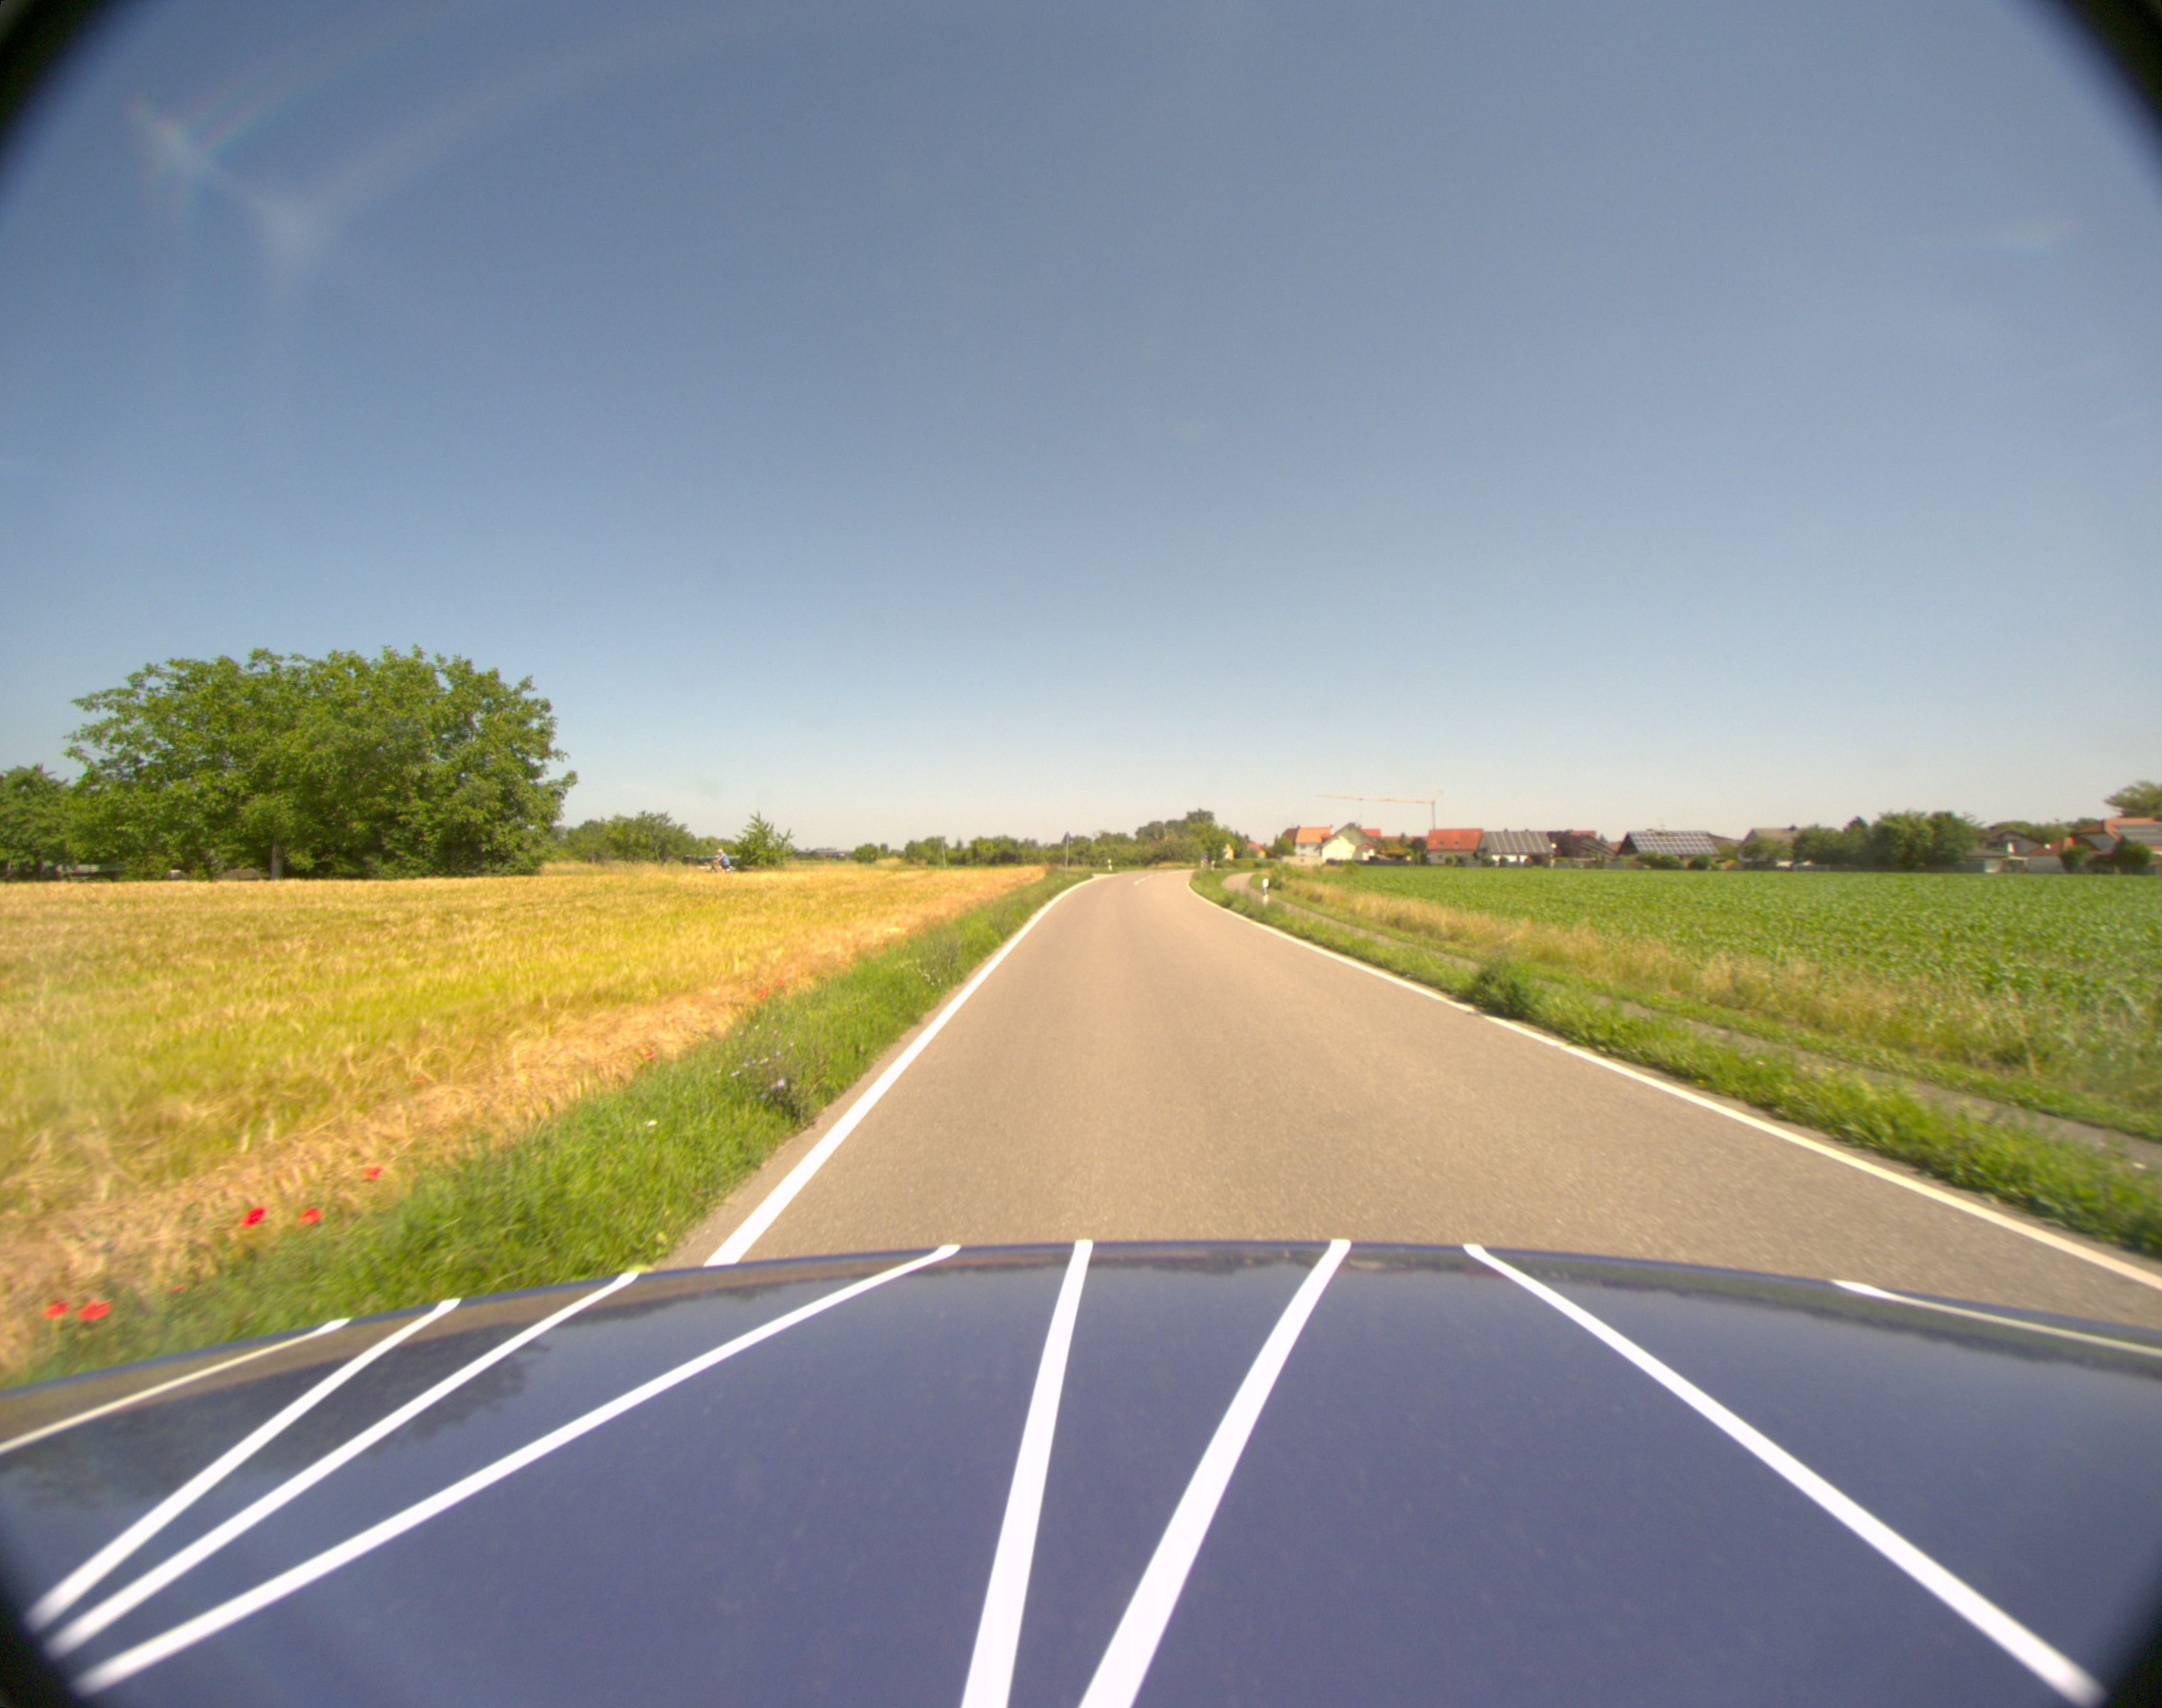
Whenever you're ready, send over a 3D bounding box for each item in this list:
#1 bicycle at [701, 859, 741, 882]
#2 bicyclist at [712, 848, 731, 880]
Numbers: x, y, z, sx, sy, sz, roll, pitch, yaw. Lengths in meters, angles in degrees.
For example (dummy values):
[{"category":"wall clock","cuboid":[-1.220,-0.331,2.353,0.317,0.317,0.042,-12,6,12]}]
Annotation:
[{"category":"bicycle","cuboid":[-17.984,0.831,37.979,1.773,1.109,0.520,0,1,-39]},{"category":"bicyclist","cuboid":[-17.982,0.509,37.975,0.737,1.564,0.673,0,1,-39]}]
